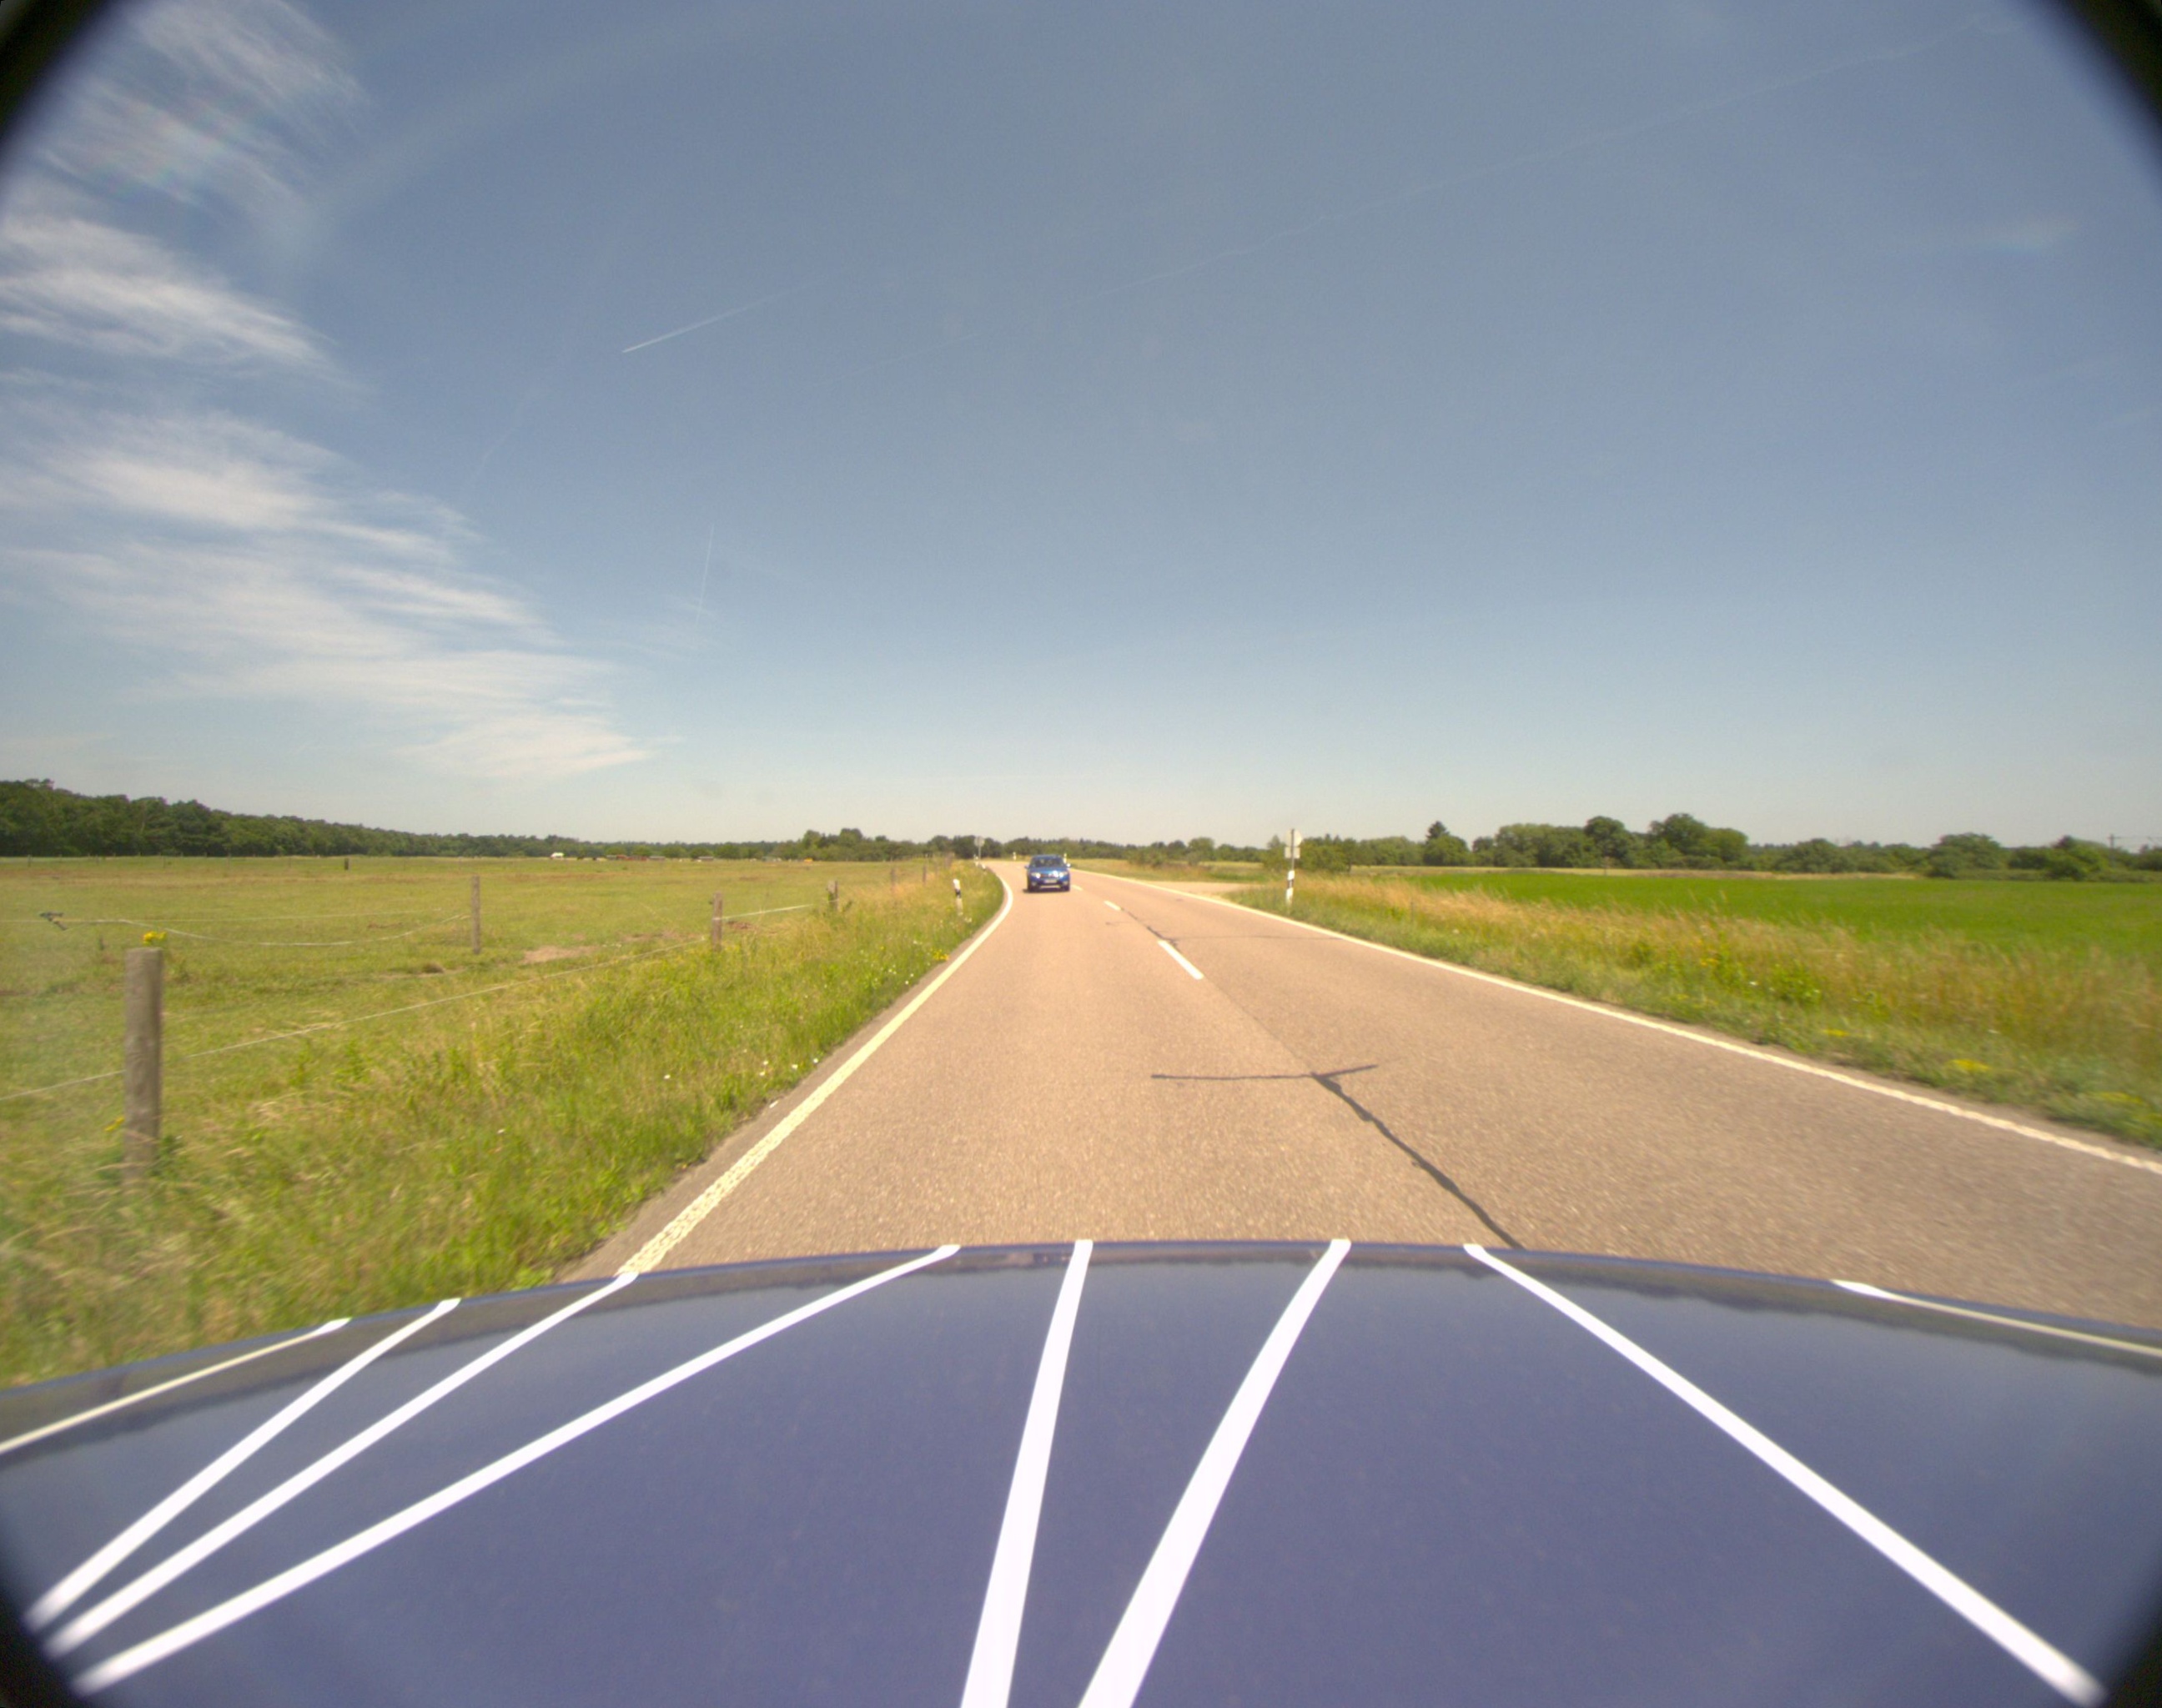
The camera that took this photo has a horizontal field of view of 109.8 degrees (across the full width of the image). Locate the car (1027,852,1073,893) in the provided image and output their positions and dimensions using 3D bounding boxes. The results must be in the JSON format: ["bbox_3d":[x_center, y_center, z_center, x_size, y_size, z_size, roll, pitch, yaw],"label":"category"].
[{"bbox_3d":[-1.408,0.764,33.182,1.735,1.572,3.997,-2,1,-6],"label":"car"}]
